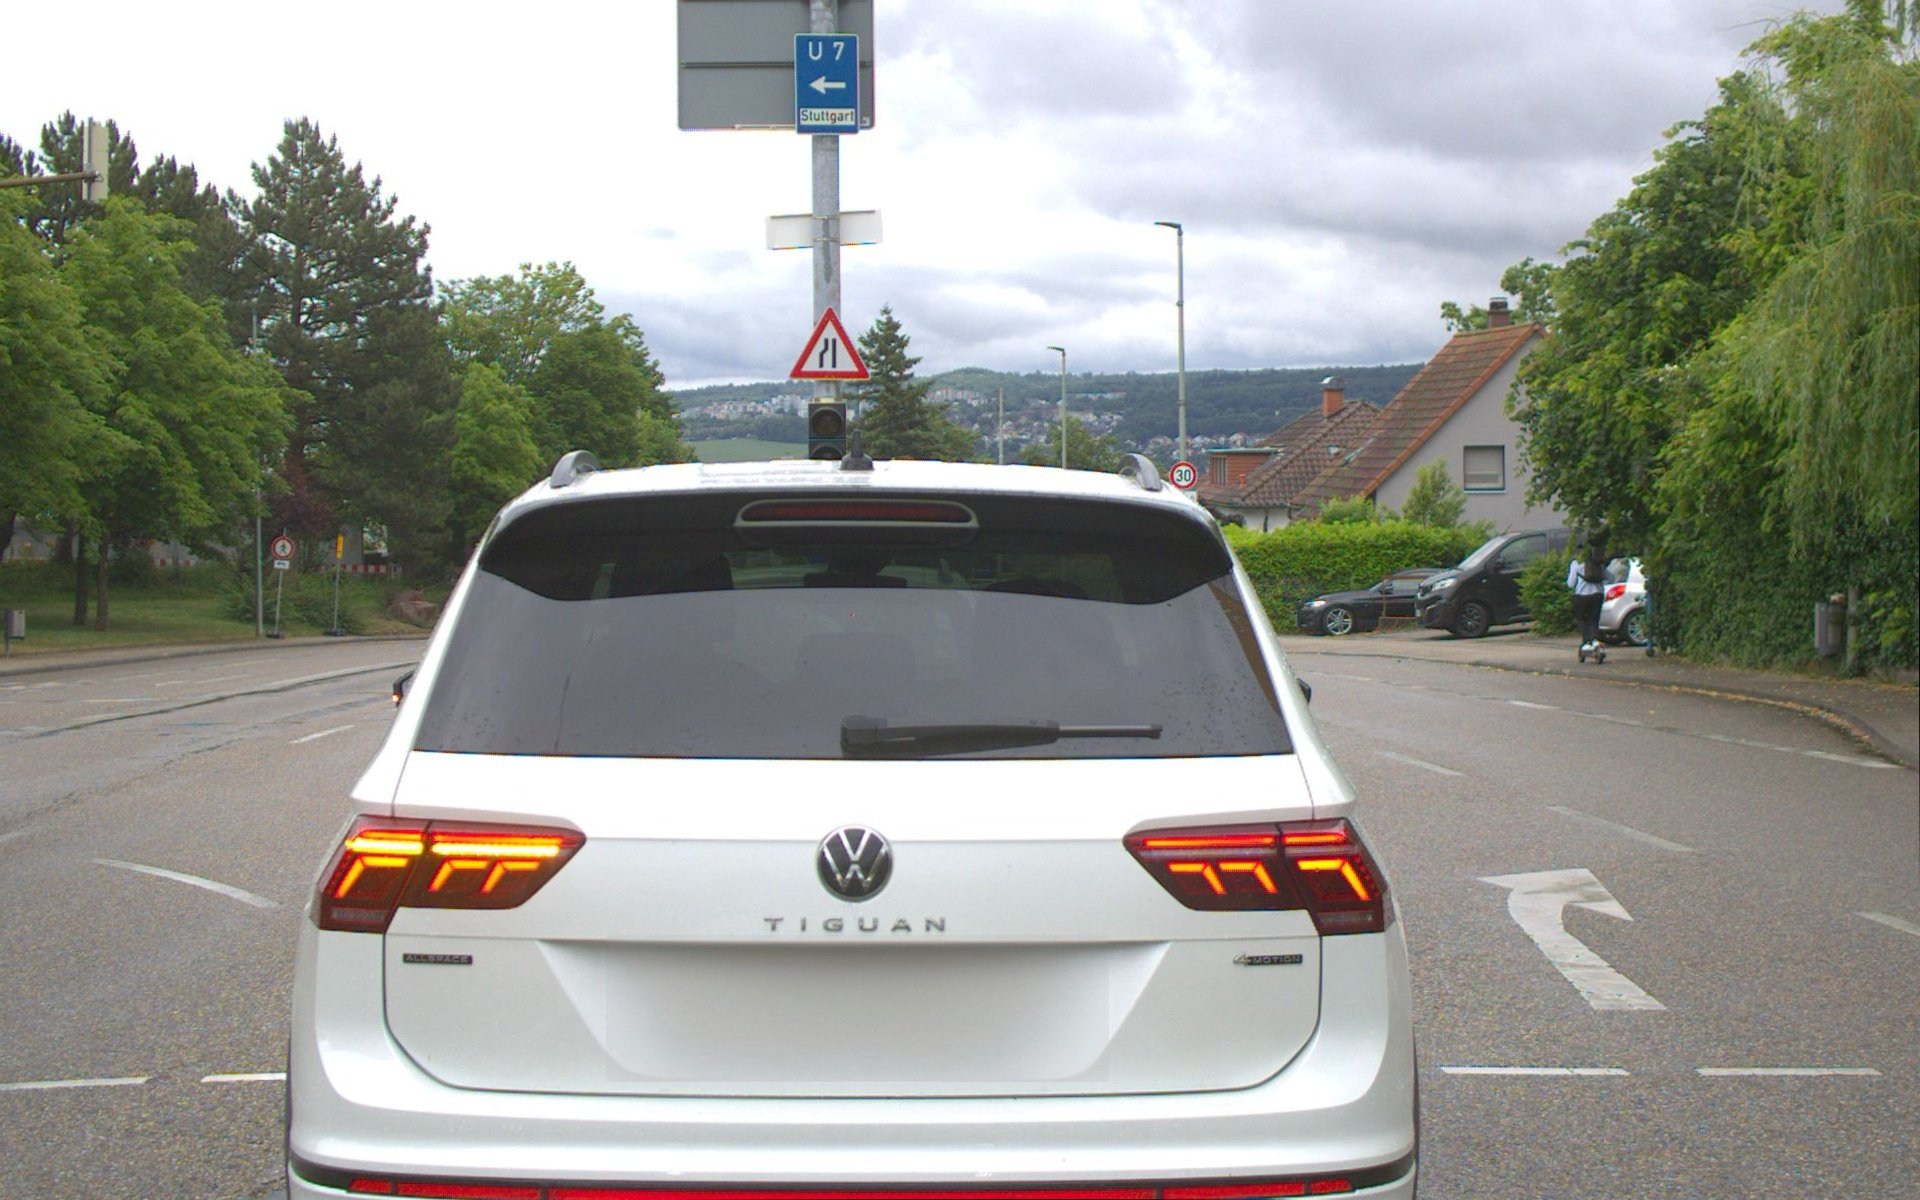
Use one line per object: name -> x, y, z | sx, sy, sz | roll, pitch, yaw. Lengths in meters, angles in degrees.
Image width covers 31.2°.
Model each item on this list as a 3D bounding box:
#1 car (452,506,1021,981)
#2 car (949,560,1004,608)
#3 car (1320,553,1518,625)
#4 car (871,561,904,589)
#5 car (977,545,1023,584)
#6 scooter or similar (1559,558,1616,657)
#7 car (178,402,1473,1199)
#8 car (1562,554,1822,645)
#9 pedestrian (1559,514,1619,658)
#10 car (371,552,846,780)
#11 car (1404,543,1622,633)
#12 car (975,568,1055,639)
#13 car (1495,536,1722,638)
car -> -0.725, 0.456, 13.598 | 1.799, 1.584, 3.926 | -1, 1, 3
car -> 0.546, -0.576, 119.151 | 1.850, 1.569, 4.000 | -1, 1, 0
car -> 9.066, -0.203, 68.066 | 3.687, 1.365, 1.519 | 0, -1, -2
car -> -4.240, -1.461, 200.697 | 1.850, 1.569, 4.000 | -1, 1, 0
car -> 1.659, -1.500, 144.677 | 1.850, 1.569, 4.000 | -1, 1, 0
scooter or similar -> 8.781, 0.090, 48.153 | 0.461, 1.356, 1.385 | 0, 1, -4
car -> -0.243, 0.550, 6.869 | 1.763, 1.690, 4.273 | 1, 1, -1
car -> 11.804, -0.007, 55.529 | 3.713, 1.390, 1.729 | -1, 0, -7
pedestrian -> 8.796, -0.206, 48.096 | 0.655, 1.995, 0.718 | 0, 1, -4
car -> -2.616, 0.407, 24.795 | 1.760, 1.474, 4.000 | -1, 1, -33
car -> 10.137, -0.226, 63.196 | 3.627, 1.621, 1.791 | 0, 0, -4
car -> 1.158, 0.053, 72.354 | 1.625, 1.398, 3.689 | 1, 1, 1
car -> 11.455, -0.244, 60.830 | 3.627, 1.740, 1.708 | -1, 2, -4
